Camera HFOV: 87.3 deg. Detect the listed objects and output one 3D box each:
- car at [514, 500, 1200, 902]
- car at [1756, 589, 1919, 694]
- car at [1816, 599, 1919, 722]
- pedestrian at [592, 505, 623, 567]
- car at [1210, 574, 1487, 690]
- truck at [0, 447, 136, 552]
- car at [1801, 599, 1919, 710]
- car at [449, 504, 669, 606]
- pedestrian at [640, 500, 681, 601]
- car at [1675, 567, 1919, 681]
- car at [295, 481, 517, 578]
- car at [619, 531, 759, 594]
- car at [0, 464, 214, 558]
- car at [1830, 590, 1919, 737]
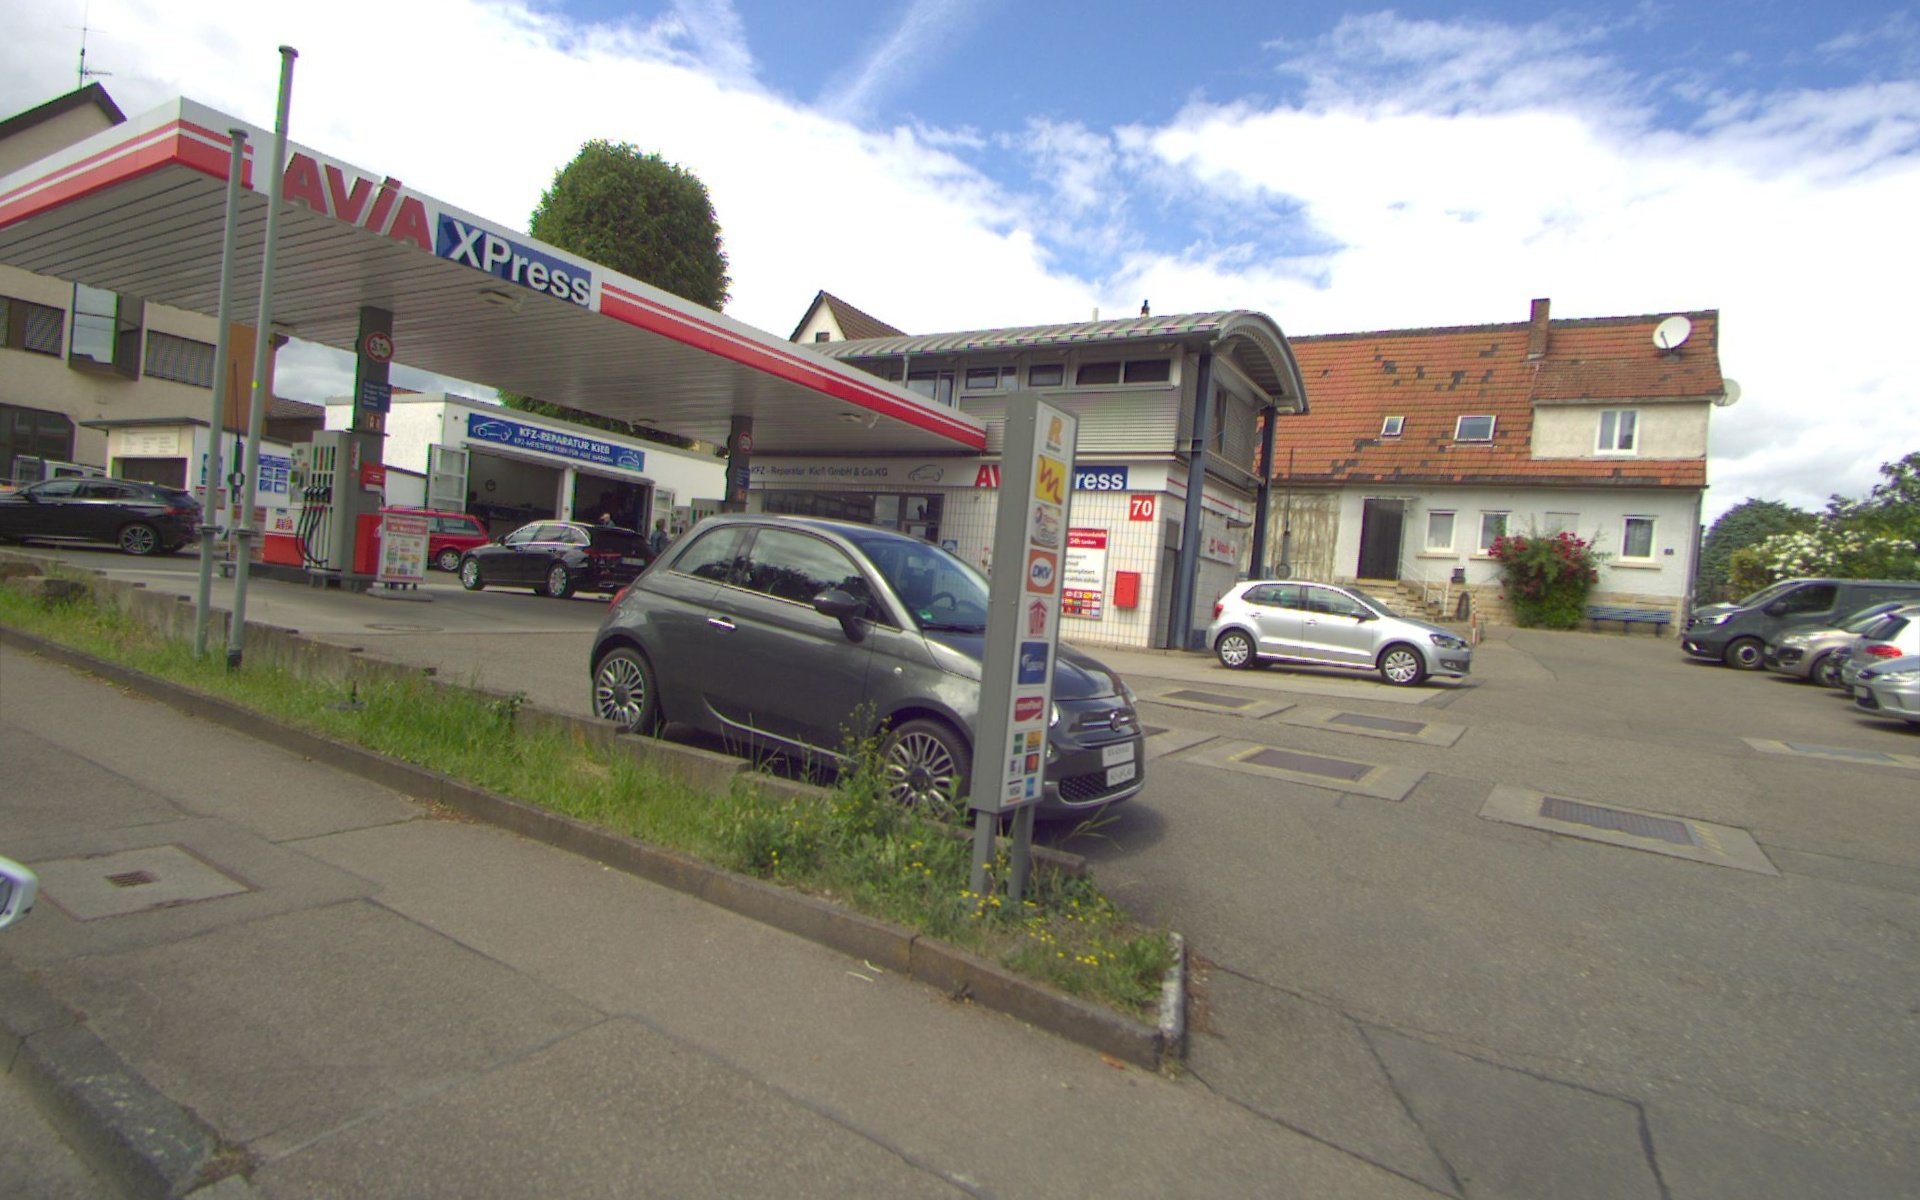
[{"bbox_3d":[-0.835,0.293,6.142,4.094,1.620,1.611,6,7,35],"label":"car"},{"bbox_3d":[16.943,0.773,18.010,3.885,1.655,1.566,5,4,30],"label":"car"},{"bbox_3d":[14.250,0.925,13.805,3.440,1.591,1.566,5,4,30],"label":"car"},{"bbox_3d":[-11.348,-2.041,32.393,0.663,1.867,0.683,6,0,-11],"label":"pedestrian"},{"bbox_3d":[5.946,0.405,15.542,3.689,1.522,1.628,3,3,34],"label":"car"},{"bbox_3d":[-26.412,-2.936,27.739,2.318,2.488,5.092,8,1,32],"label":"truck"},{"bbox_3d":[15.734,0.928,15.851,3.440,1.591,1.566,5,4,30],"label":"car"},{"bbox_3d":[-7.866,-0.903,19.572,4.498,1.628,1.631,5,0,34],"label":"car"},{"bbox_3d":[-6.049,-0.993,20.326,0.579,1.959,0.538,6,0,-21],"label":"pedestrian"},{"bbox_3d":[17.846,0.471,20.465,5.050,1.946,1.917,5,4,30],"label":"car"},{"bbox_3d":[-13.850,-1.692,25.297,4.571,1.737,1.807,7,-1,-38],"label":"car"},{"bbox_3d":[-7.890,-1.060,29.559,1.595,1.461,3.739,11,5,34],"label":"car"},{"bbox_3d":[-18.592,-1.901,21.218,4.258,1.653,1.625,4,4,-23],"label":"car"},{"bbox_3d":[13.172,0.890,11.898,3.980,1.707,1.566,5,4,30],"label":"car"}]
